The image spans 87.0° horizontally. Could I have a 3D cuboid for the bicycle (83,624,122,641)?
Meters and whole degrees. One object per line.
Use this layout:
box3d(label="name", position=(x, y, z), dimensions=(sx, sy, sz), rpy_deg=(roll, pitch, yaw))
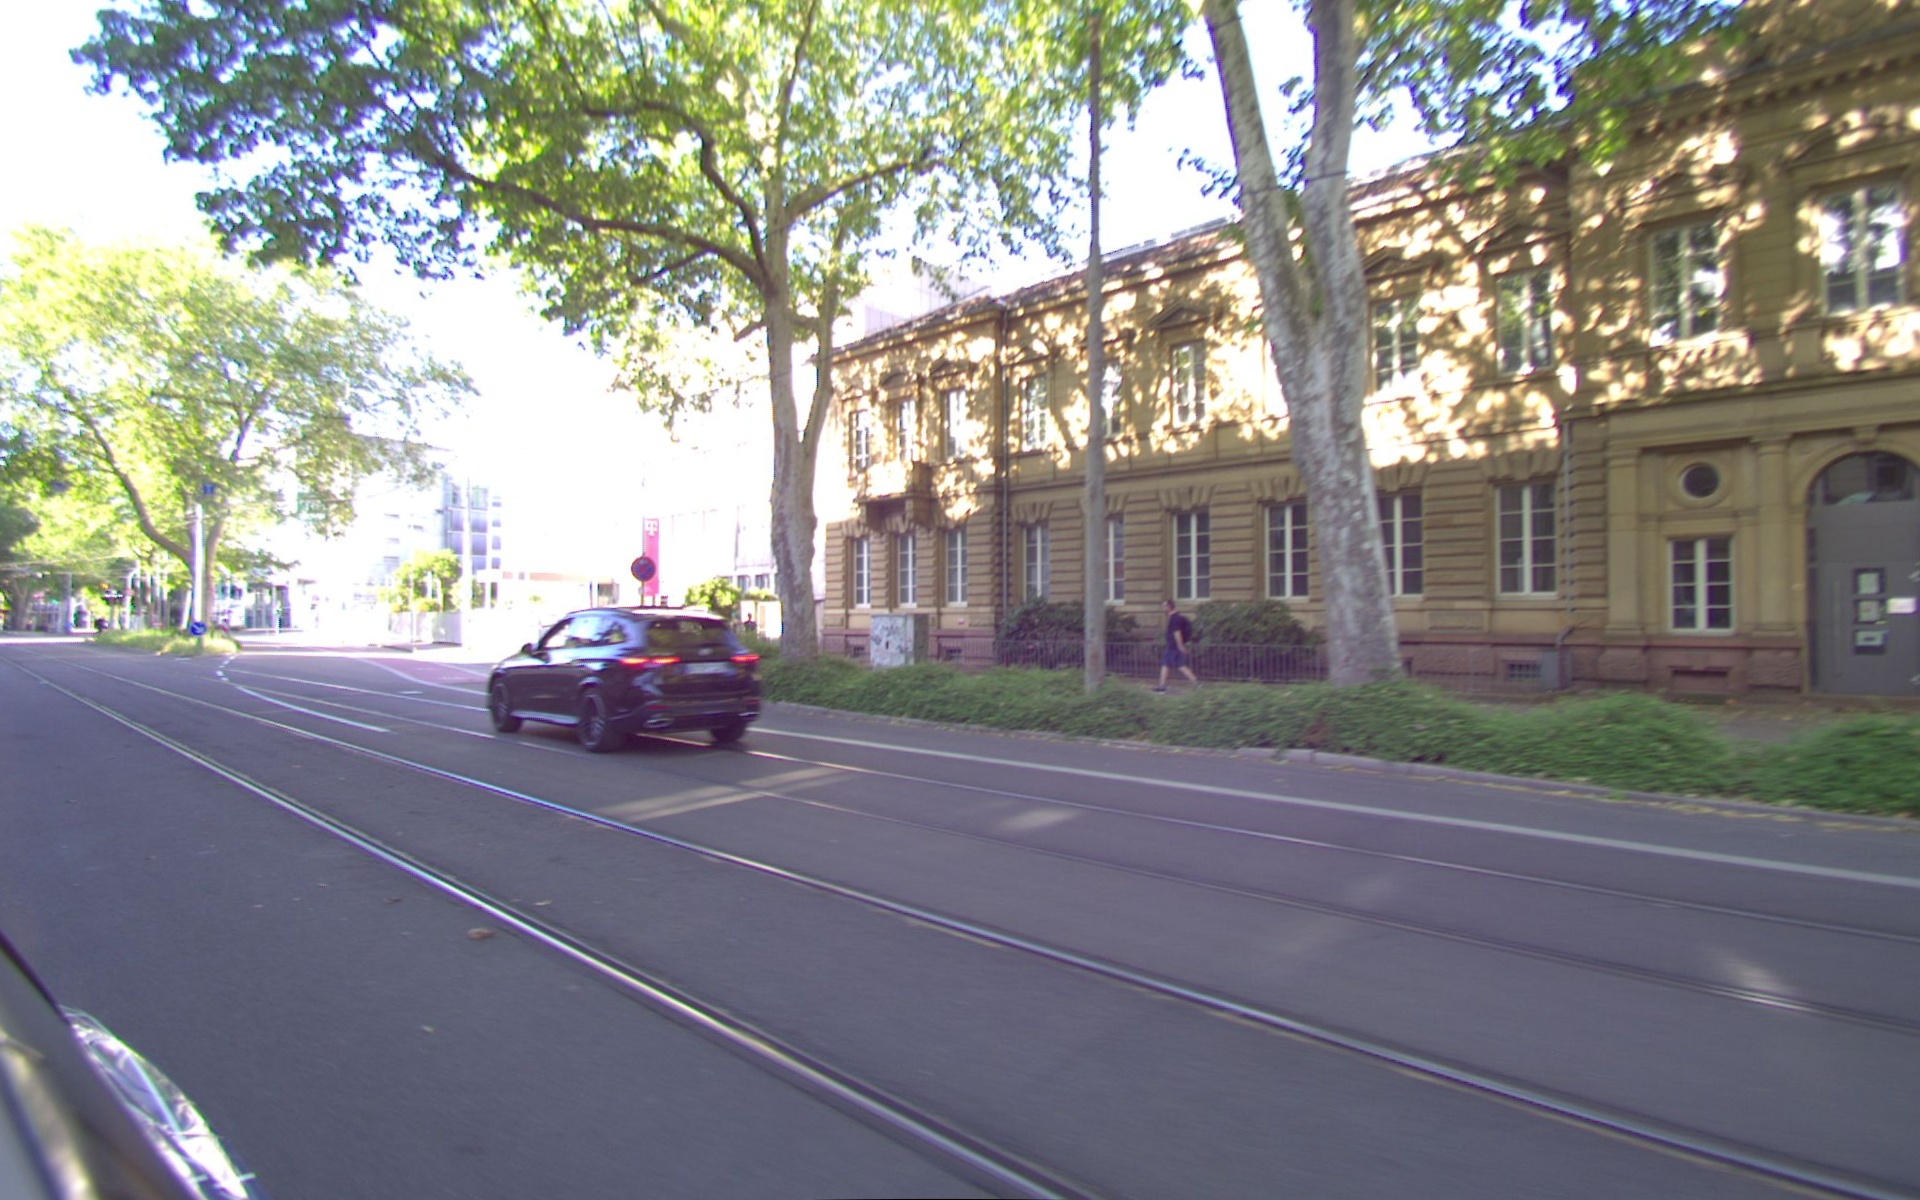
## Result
box3d(label="bicycle", position=(-62.241, 2.344, 73.445), dimensions=(0.759, 1.137, 2.057), rpy_deg=(-1, -1, 38))

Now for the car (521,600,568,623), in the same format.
box3d(label="car", position=(-31.982, 0.895, 77.800), dimensions=(4.000, 1.765, 1.827), rpy_deg=(-1, -1, 43))

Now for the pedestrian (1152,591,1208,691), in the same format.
box3d(label="pedestrian", position=(4.238, 0.771, 19.491), dimensions=(0.837, 1.863, 0.712), rpy_deg=(-1, -1, 39))

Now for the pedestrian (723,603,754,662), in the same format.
box3d(label="pedestrian", position=(-6.602, 0.958, 30.170), dimensions=(0.655, 1.710, 0.628), rpy_deg=(-1, -1, 36))

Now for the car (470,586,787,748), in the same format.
box3d(label="car", position=(-4.262, 0.757, 12.590), dimensions=(4.561, 1.642, 1.845), rpy_deg=(-2, -3, 44))

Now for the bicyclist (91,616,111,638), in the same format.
box3d(label="bicyclist", position=(-62.303, 1.976, 73.382), dimensions=(0.759, 1.588, 0.995), rpy_deg=(-1, -1, 38))

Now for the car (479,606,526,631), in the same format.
box3d(label="car", position=(-34.546, 1.390, 76.386), dimensions=(4.000, 1.831, 1.827), rpy_deg=(-1, -1, 43))

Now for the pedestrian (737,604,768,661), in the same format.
box3d(label="pedestrian", position=(-6.323, 0.985, 30.839), dimensions=(0.660, 1.710, 0.665), rpy_deg=(-1, -1, 36))

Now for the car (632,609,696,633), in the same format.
box3d(label="car", position=(-21.747, 1.501, 74.415), dimensions=(1.853, 1.732, 4.221), rpy_deg=(-1, -1, 42))
